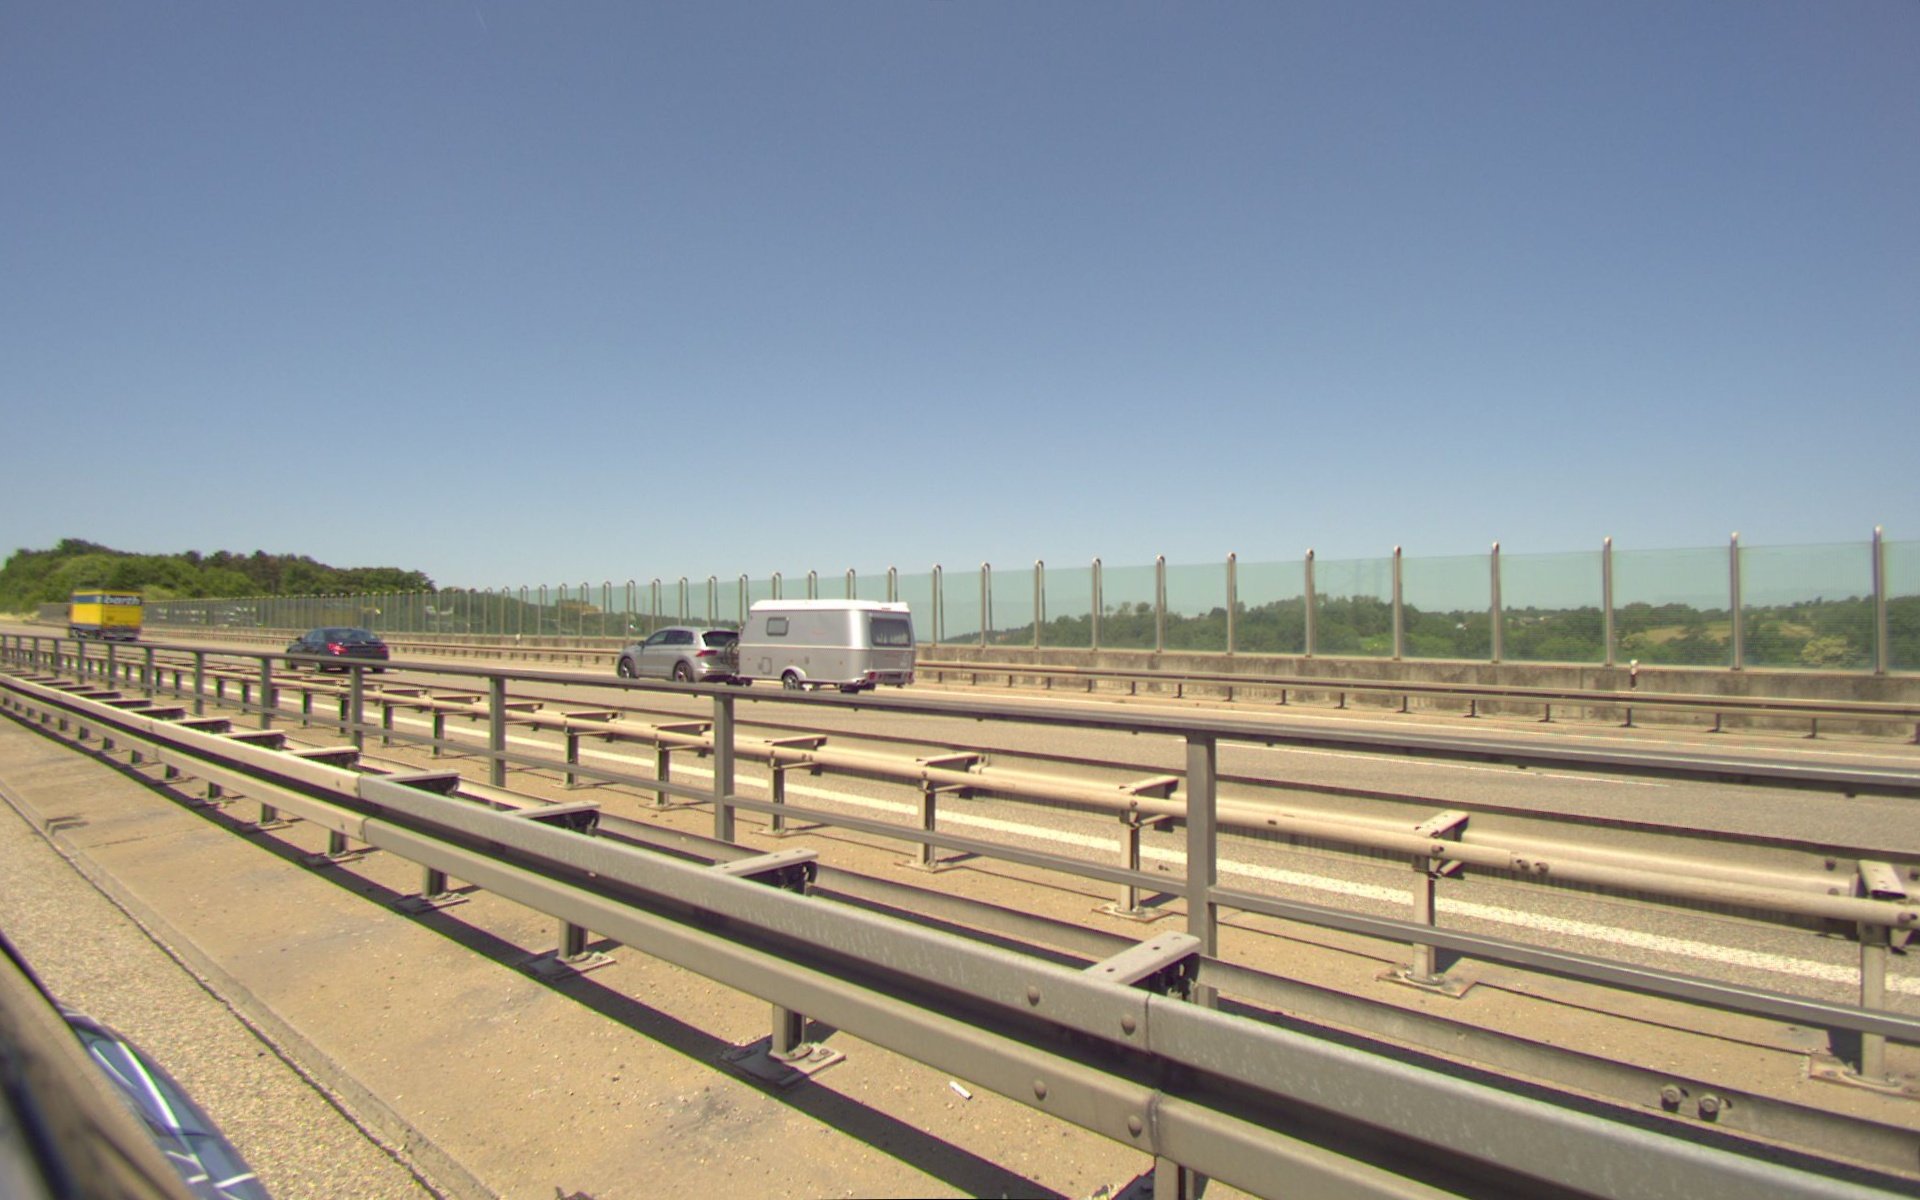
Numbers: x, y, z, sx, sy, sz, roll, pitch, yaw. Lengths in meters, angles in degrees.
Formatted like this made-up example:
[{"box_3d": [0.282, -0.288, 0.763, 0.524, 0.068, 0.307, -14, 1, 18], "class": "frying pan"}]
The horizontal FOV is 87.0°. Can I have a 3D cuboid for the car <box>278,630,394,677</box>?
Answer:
[{"box_3d": [-19.969, 1.661, 32.292, 4.673, 1.408, 1.836, -1, -3, 41], "class": "car"}]

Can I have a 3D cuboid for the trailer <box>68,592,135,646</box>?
[{"box_3d": [-69.978, 1.617, 82.361, 13.800, 4.094, 2.396, -1, -3, 43], "class": "trailer"}]

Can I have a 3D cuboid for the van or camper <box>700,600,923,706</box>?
[{"box_3d": [-3.609, 1.179, 23.862, 5.533, 2.228, 1.973, -1, -4, 40], "class": "van or camper"}]

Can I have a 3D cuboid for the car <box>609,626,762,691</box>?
[{"box_3d": [-7.389, 1.541, 27.059, 4.197, 1.557, 1.837, 0, -3, 40], "class": "car"}]

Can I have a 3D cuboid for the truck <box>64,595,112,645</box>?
[{"box_3d": [-75.044, 1.735, 87.055, 5.542, 4.089, 2.388, -1, -3, 43], "class": "truck"}]
